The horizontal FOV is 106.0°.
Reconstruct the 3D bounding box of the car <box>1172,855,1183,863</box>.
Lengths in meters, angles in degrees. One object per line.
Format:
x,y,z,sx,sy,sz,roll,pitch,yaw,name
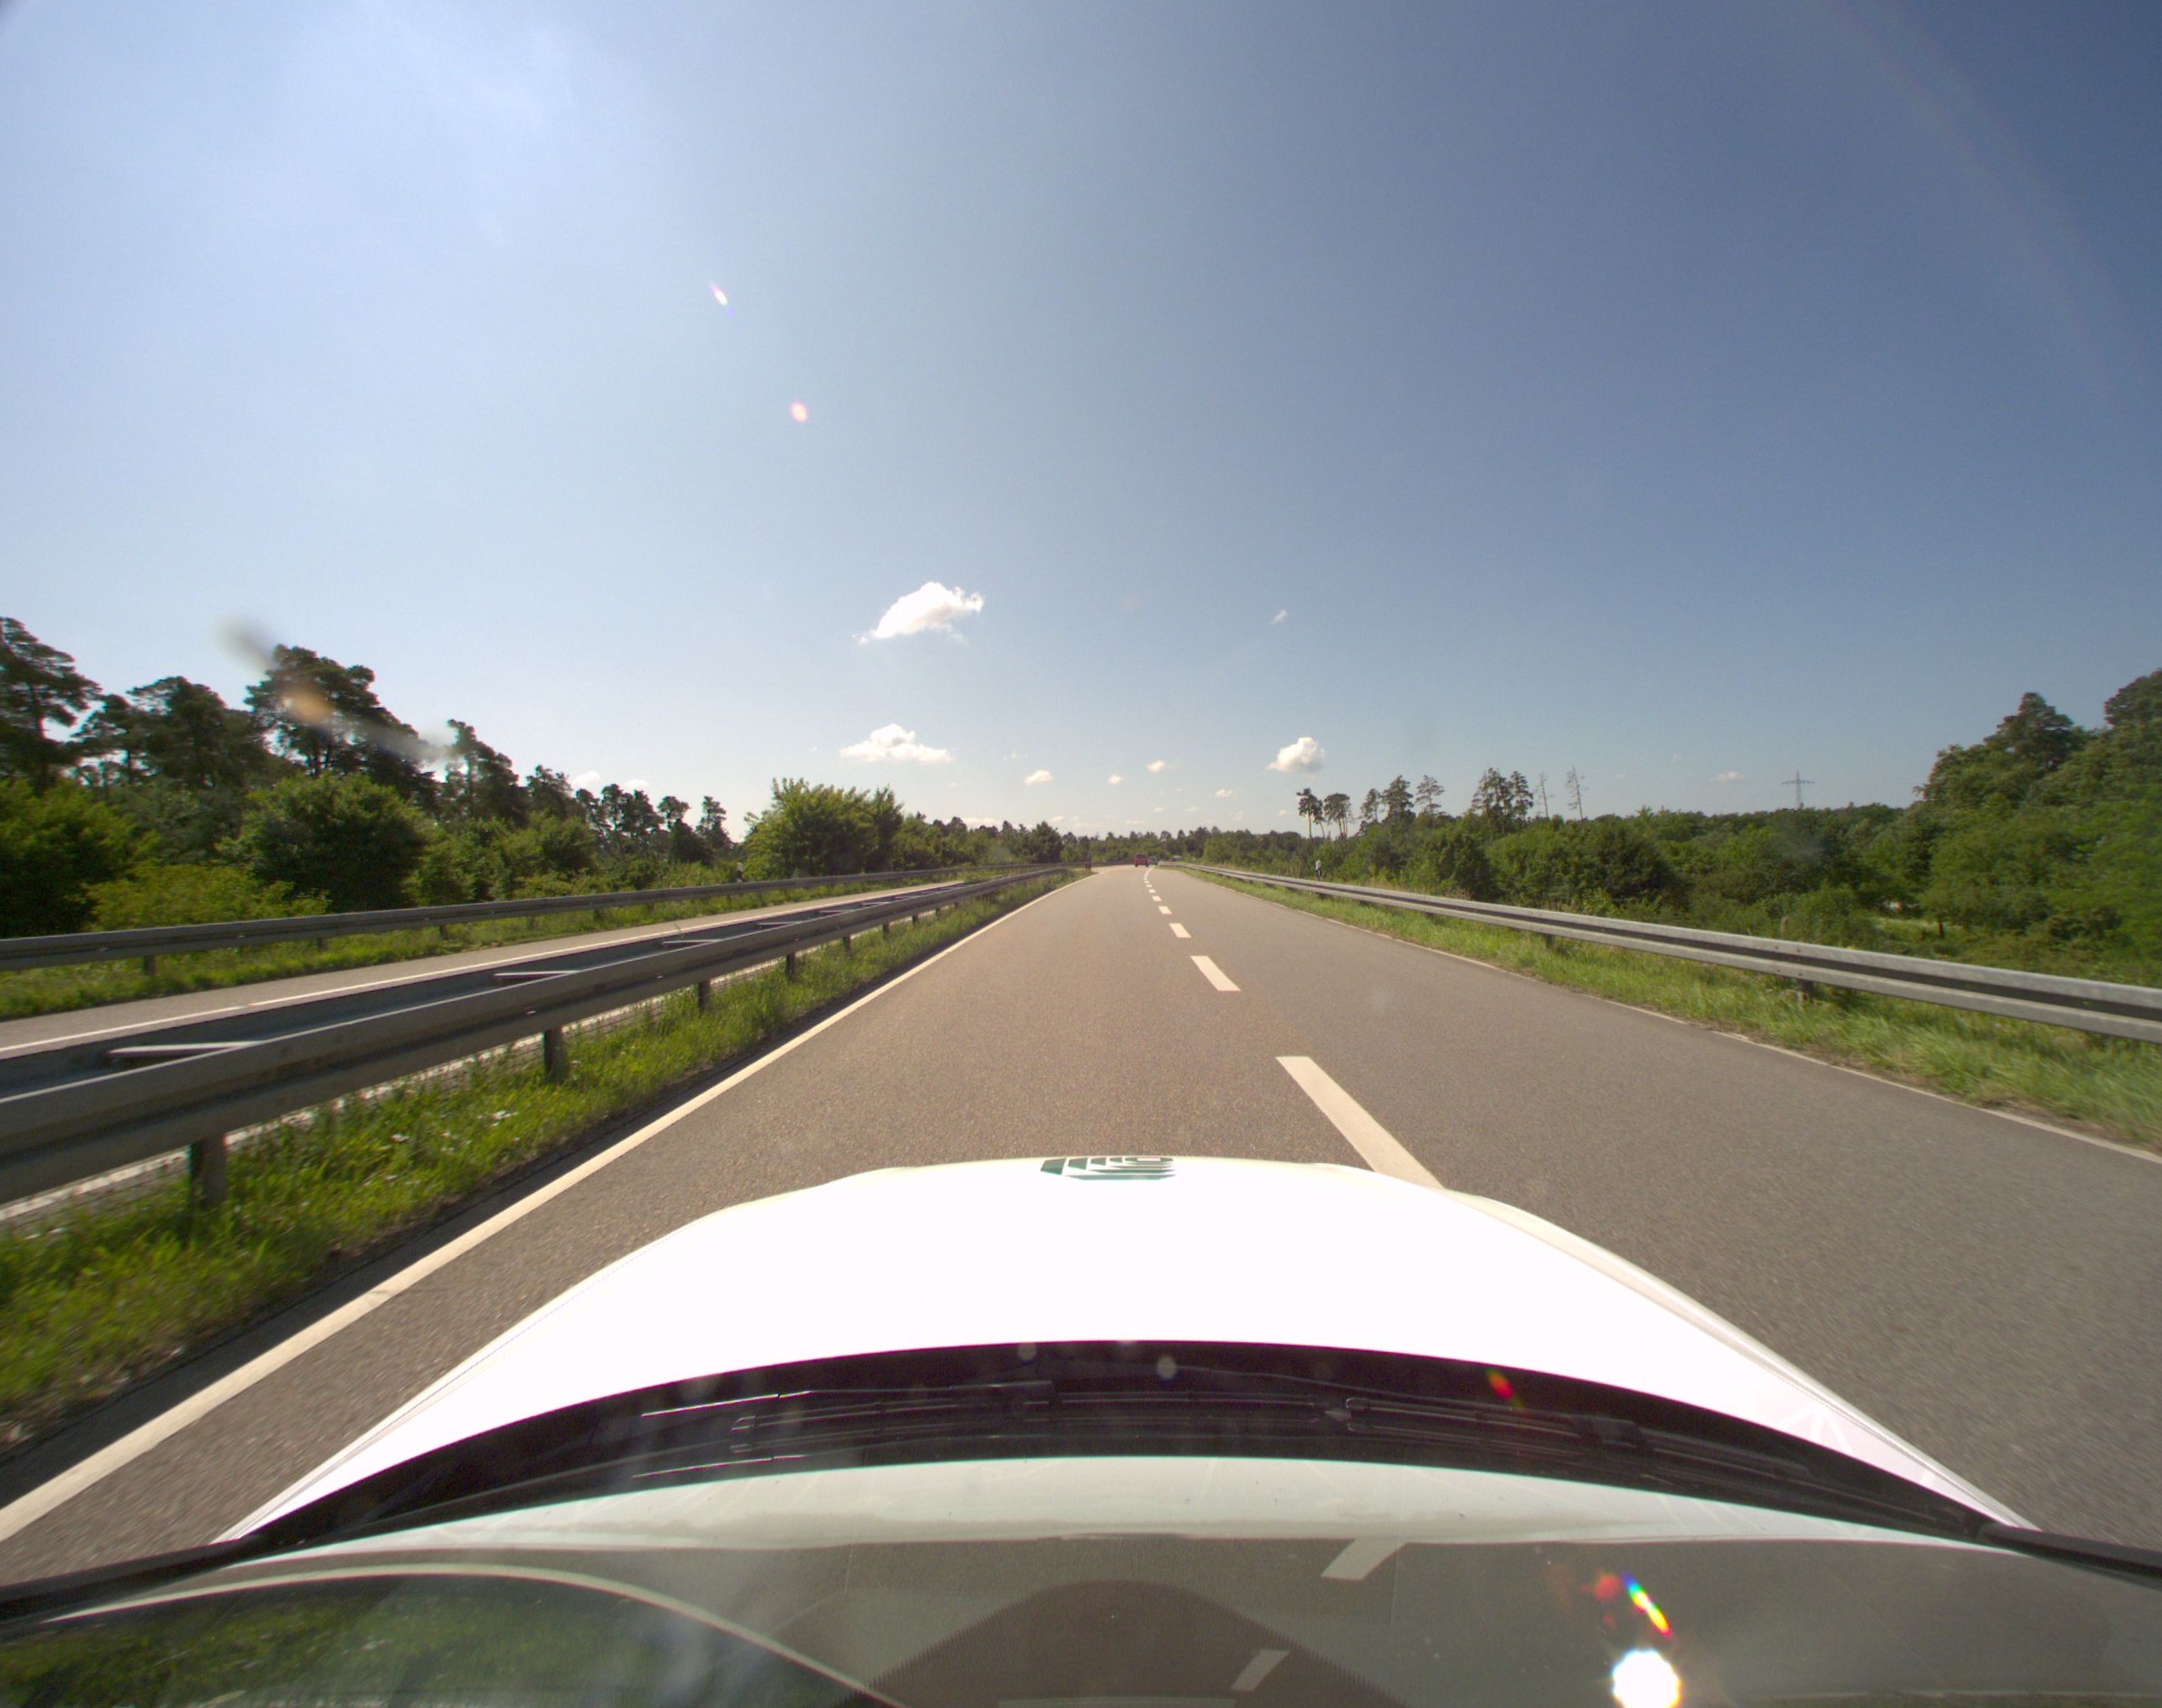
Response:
23.258,1.266,195.360,2.170,1.955,5.822,0,-1,11,car

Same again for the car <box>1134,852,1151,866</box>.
9.077,0.767,119.947,2.066,1.993,5.122,0,-1,8,car

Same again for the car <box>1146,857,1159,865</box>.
12.440,1.223,141.622,1.996,1.494,4.247,0,-1,8,car
